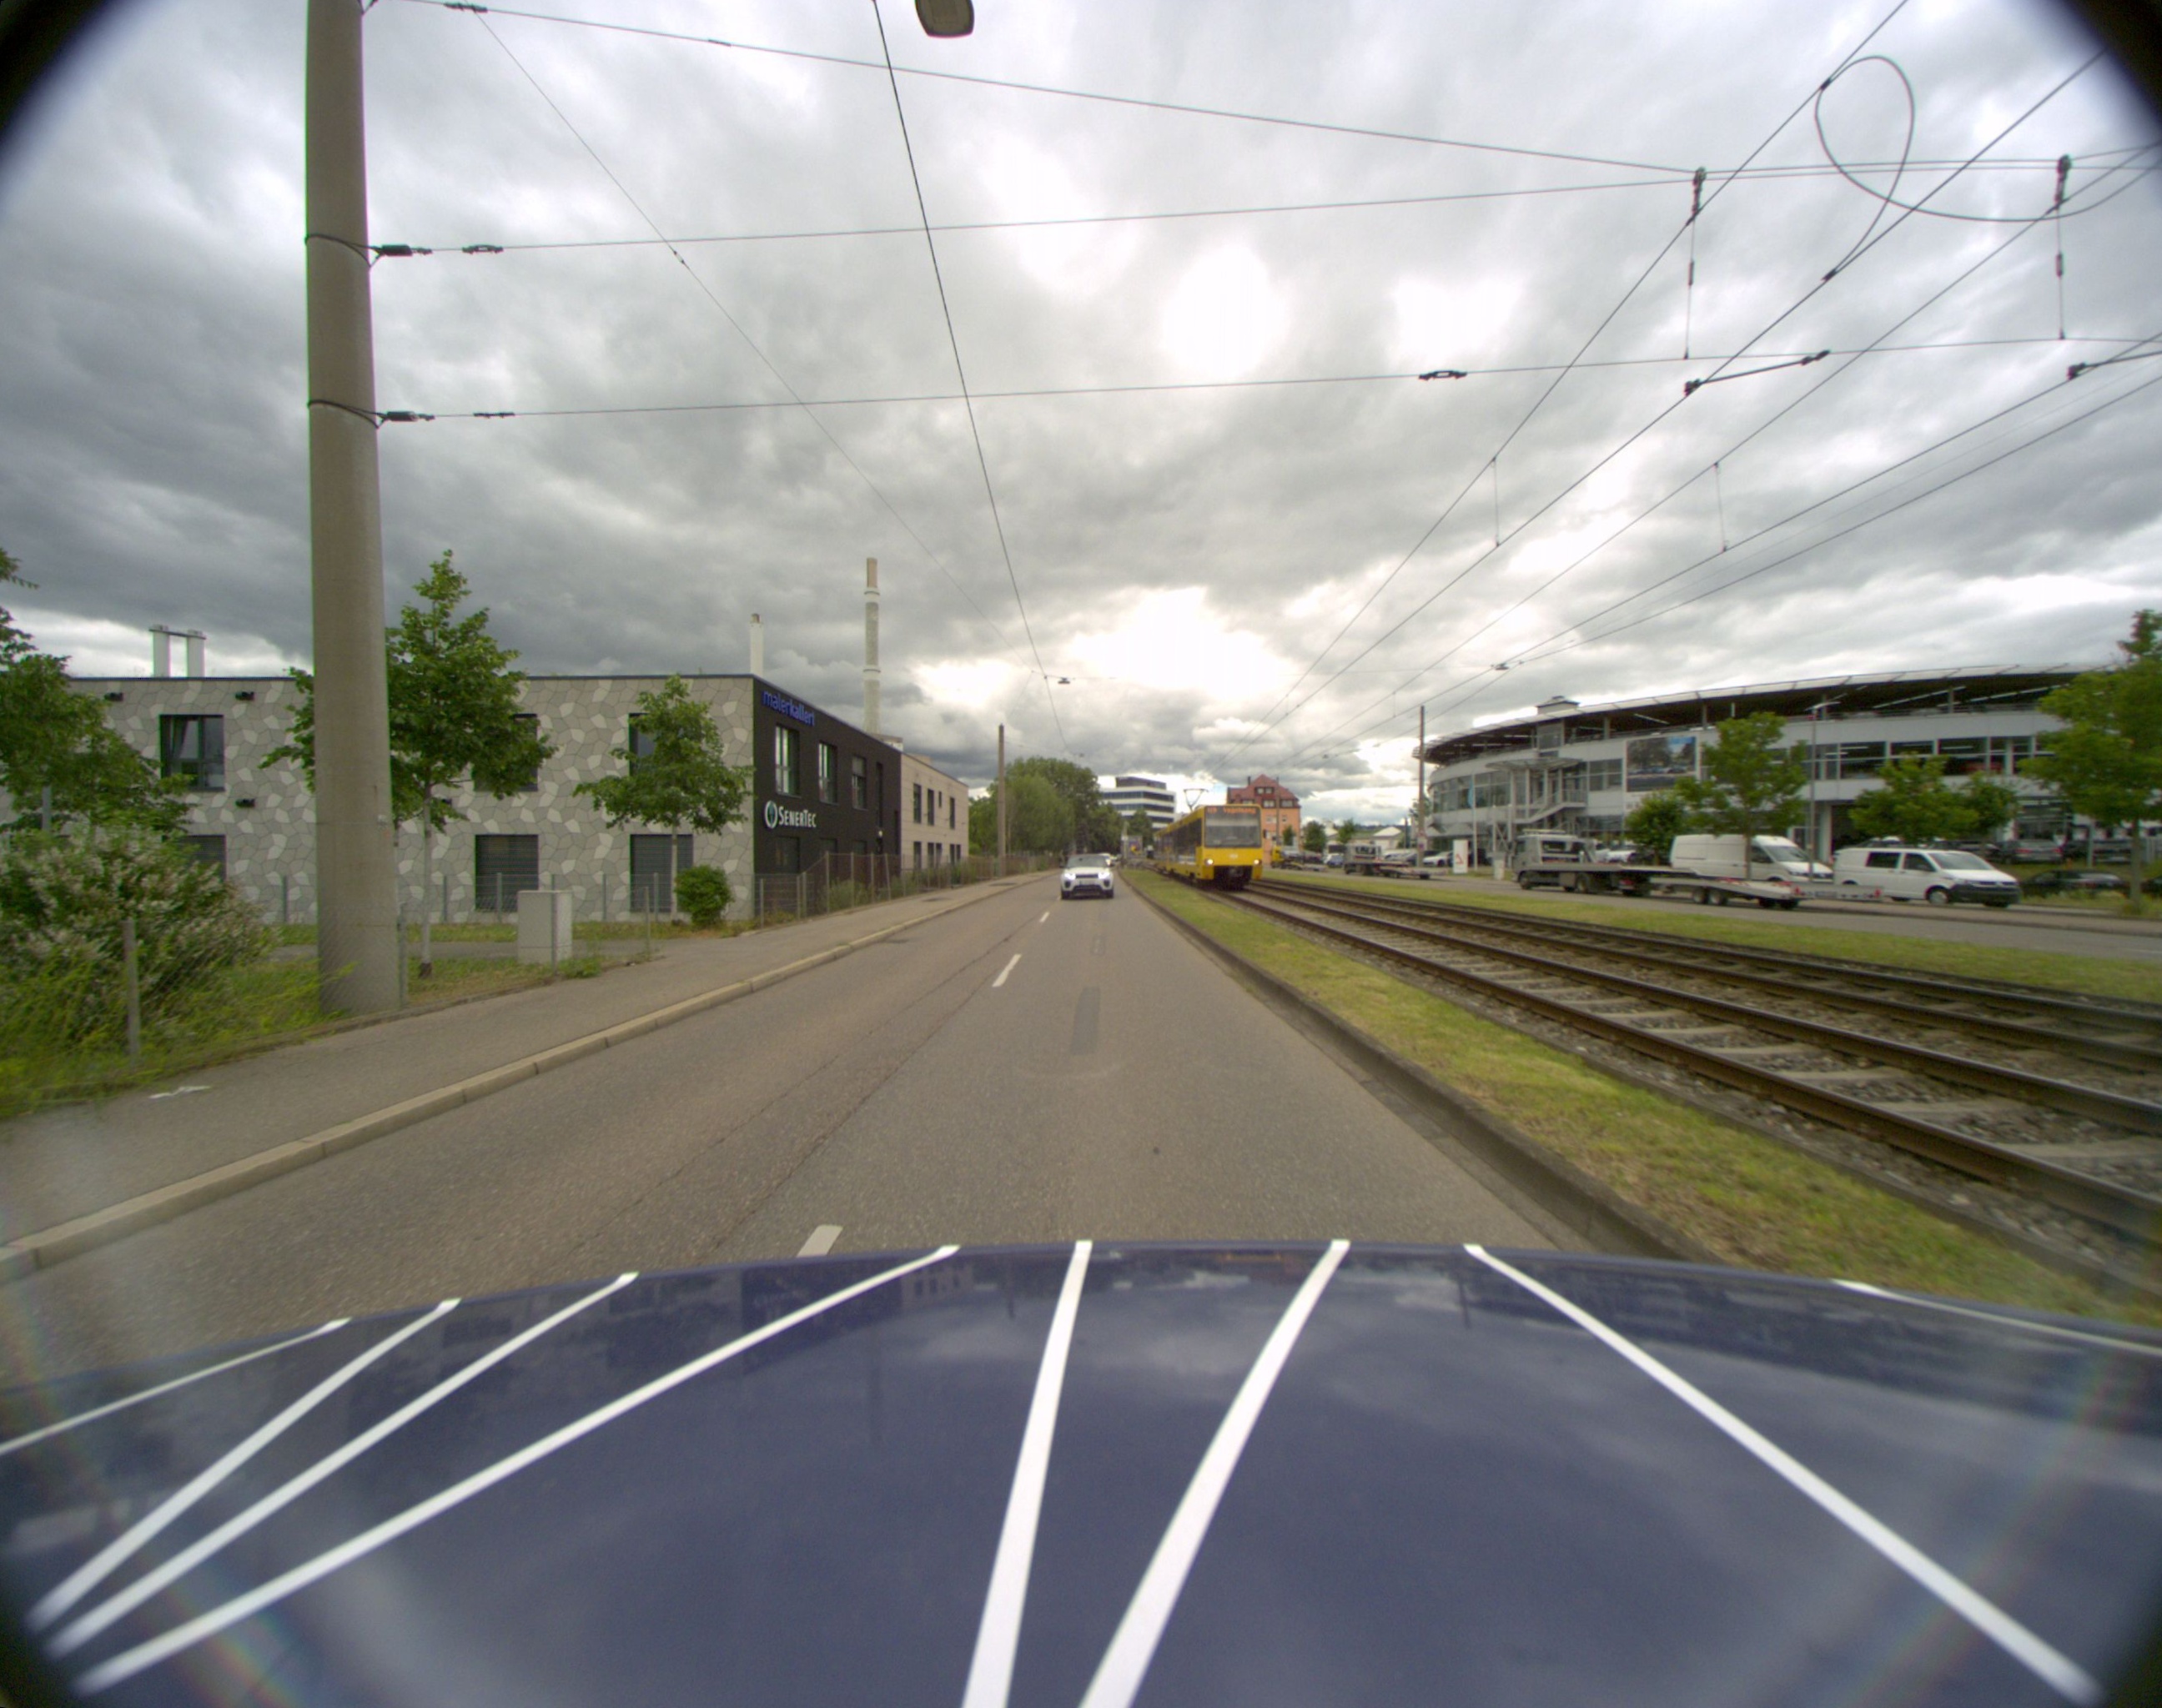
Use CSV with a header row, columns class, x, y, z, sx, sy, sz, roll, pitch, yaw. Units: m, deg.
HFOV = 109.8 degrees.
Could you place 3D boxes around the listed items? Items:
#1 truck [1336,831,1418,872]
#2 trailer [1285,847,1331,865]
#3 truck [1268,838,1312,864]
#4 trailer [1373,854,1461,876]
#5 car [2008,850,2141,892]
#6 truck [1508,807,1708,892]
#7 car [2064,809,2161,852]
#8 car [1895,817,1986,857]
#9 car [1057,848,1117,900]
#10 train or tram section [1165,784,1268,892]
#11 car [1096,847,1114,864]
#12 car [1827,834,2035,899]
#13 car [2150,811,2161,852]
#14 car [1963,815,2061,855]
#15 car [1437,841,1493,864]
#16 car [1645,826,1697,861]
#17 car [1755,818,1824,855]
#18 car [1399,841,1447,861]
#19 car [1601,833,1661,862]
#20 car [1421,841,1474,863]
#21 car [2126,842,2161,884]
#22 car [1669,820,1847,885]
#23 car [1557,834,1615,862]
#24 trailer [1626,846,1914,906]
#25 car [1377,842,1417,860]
class,x,y,z,sx,sy,sz,roll,pitch,yaw
truck,22.797,-0.200,59.143,3.114,2.905,8.962,2,0,2
trailer,23.567,0.193,79.304,2.984,1.678,7.570,-1,0,4
truck,23.923,-0.358,87.624,3.056,2.843,9.068,-1,0,3
trailer,22.420,0.695,51.170,3.056,1.270,7.007,2,0,3
car,40.400,0.645,31.029,1.673,1.608,3.722,0,0,23
truck,21.263,-0.176,31.494,2.870,2.964,8.457,2,0,5
car,50.473,-1.104,36.885,1.994,2.002,4.007,0,1,30
car,45.259,-0.859,40.119,1.994,2.002,4.007,0,1,30
car,0.306,0.689,28.544,1.998,1.718,4.001,-2,0,3
train or tram section,6.107,-0.731,37.419,3.395,3.984,16.948,-2,1,5
car,2.657,0.159,85.178,1.998,1.882,4.626,0,0,0
car,29.131,0.388,26.342,1.998,2.002,4.809,-1,0,4
car,52.892,-1.076,35.469,1.994,2.002,4.007,0,1,30
car,49.032,-0.979,40.128,1.994,2.002,4.007,0,1,30
car,33.634,-0.137,66.641,4.001,1.936,1.998,0,1,-10
car,35.813,-0.619,46.219,1.994,2.002,4.008,0,1,30
car,40.155,-0.949,43.168,1.994,2.002,4.008,0,1,30
car,33.873,-0.302,75.355,3.992,1.936,2.002,0,1,14
car,39.597,-0.443,54.679,4.006,2.002,1.995,-1,1,-29
car,33.488,-0.203,69.465,4.001,1.936,1.998,0,1,-10
car,42.129,0.324,28.602,1.673,1.608,3.722,0,0,25
car,28.860,-0.066,32.748,2.000,2.546,5.858,-1,0,-7
car,37.582,-0.422,56.590,4.006,2.002,1.995,-1,1,-29
trailer,20.743,0.574,23.664,2.764,1.486,7.227,2,0,4
car,34.647,-0.309,83.227,3.990,1.936,2.003,0,1,24
